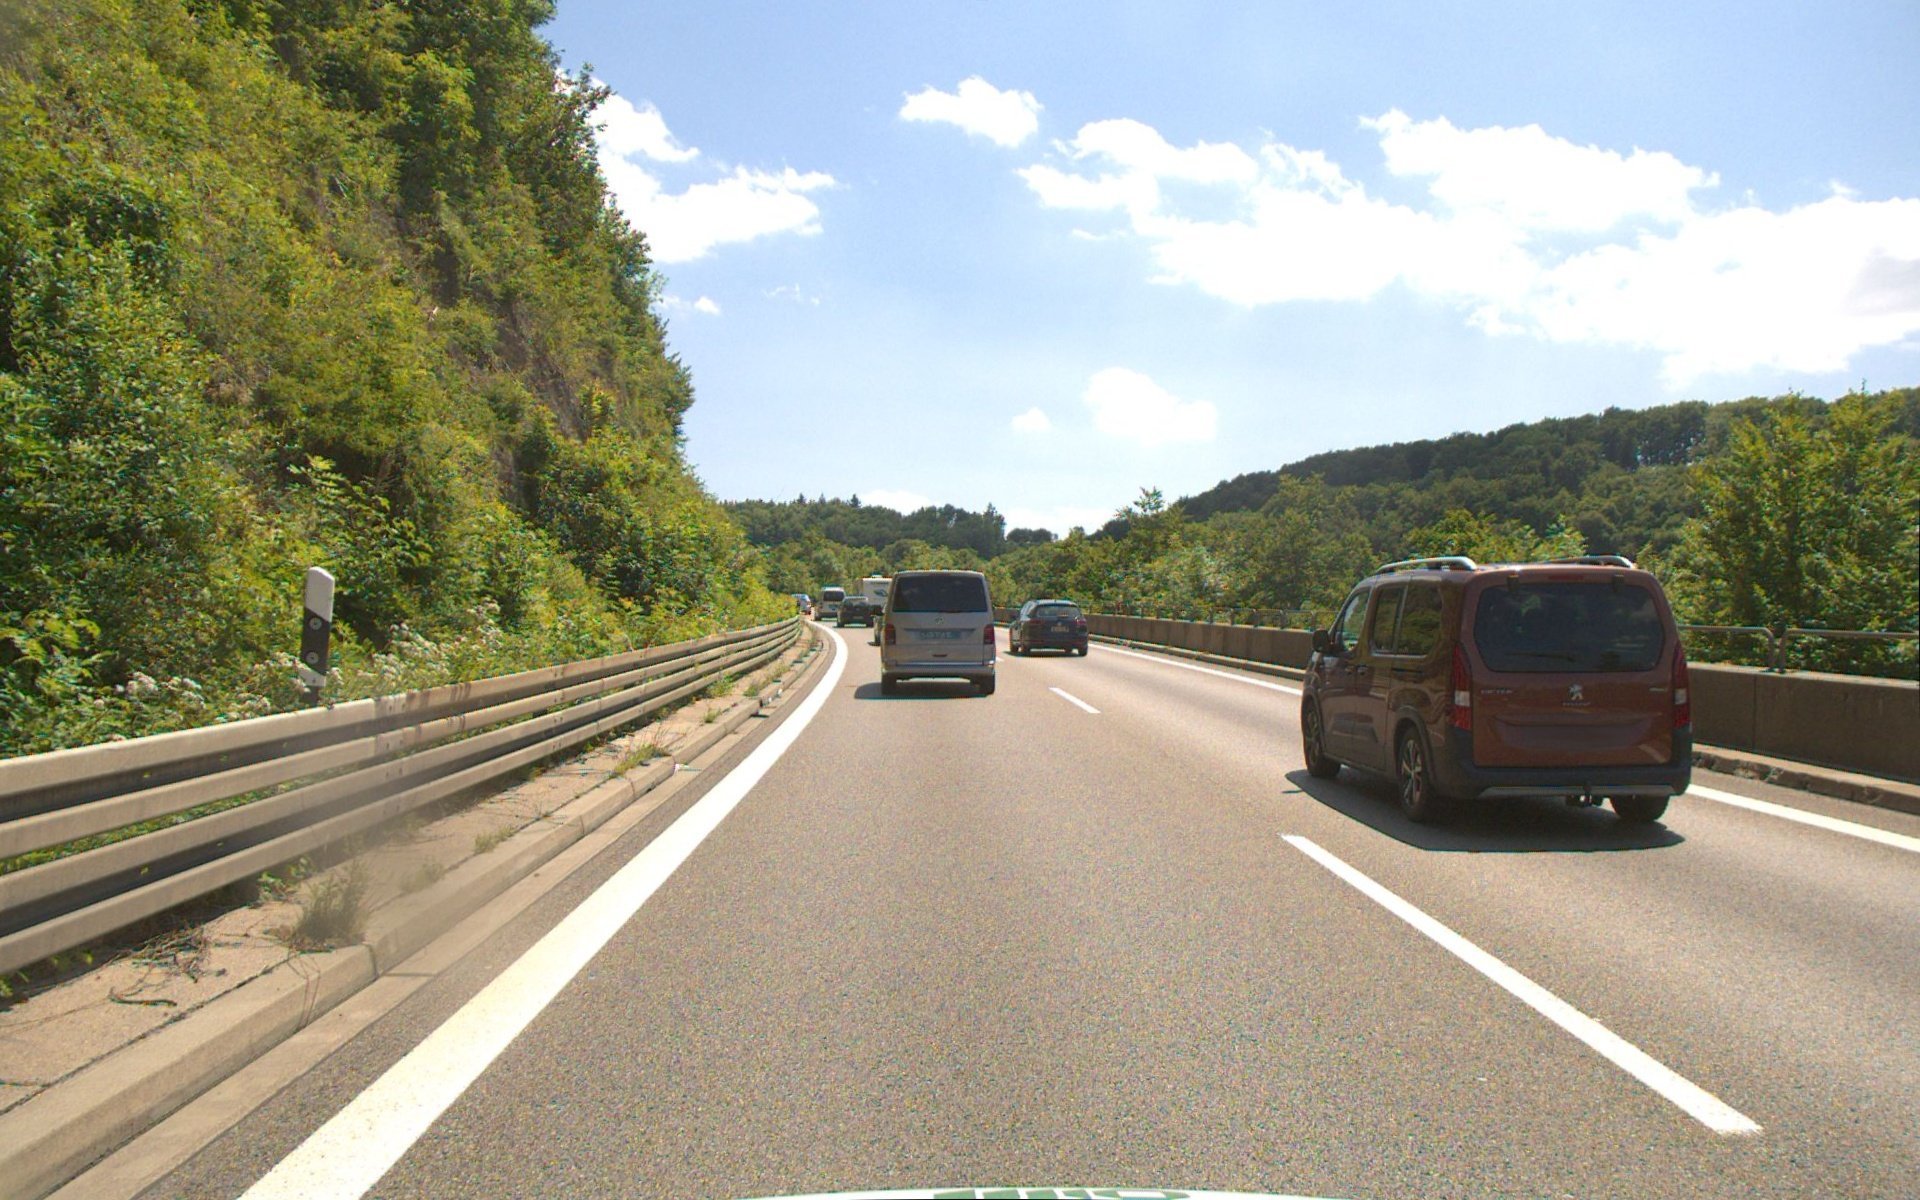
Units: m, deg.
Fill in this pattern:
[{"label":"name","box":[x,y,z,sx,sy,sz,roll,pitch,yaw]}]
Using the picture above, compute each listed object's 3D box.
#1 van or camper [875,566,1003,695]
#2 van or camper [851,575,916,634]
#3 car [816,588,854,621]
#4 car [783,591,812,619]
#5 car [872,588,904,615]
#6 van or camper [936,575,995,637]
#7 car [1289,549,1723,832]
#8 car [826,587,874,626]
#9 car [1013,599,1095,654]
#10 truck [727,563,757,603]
[{"label":"van or camper","box":[-0.432,0.469,27.823,1.839,1.983,4.289,0,0,-5]},{"label":"van or camper","box":[-5.298,0.306,112.851,3.218,3.855,8.087,0,0,-12]},{"label":"car","box":[-7.206,0.255,95.855,1.953,1.849,3.999,0,0,-1]},{"label":"car","box":[-11.747,0.335,119.615,1.956,1.948,3.993,1,0,-7]},{"label":"car","box":[-5.568,0.078,127.517,1.957,2.049,3.990,1,0,-10]},{"label":"van or camper","box":[0.217,0.243,72.710,2.219,2.596,4.732,-1,0,-4]},{"label":"car","box":[3.991,0.598,13.010,1.796,1.815,4.674,0,-1,-1]},{"label":"car","box":[-5.300,0.299,79.257,1.957,1.849,3.991,0,0,-9]},{"label":"car","box":[2.493,0.682,44.747,1.734,1.400,3.589,0,0,-5]},{"label":"truck","box":[-26.420,-2.030,200.053,3.232,4.599,7.709,-1,-1,-10]}]
